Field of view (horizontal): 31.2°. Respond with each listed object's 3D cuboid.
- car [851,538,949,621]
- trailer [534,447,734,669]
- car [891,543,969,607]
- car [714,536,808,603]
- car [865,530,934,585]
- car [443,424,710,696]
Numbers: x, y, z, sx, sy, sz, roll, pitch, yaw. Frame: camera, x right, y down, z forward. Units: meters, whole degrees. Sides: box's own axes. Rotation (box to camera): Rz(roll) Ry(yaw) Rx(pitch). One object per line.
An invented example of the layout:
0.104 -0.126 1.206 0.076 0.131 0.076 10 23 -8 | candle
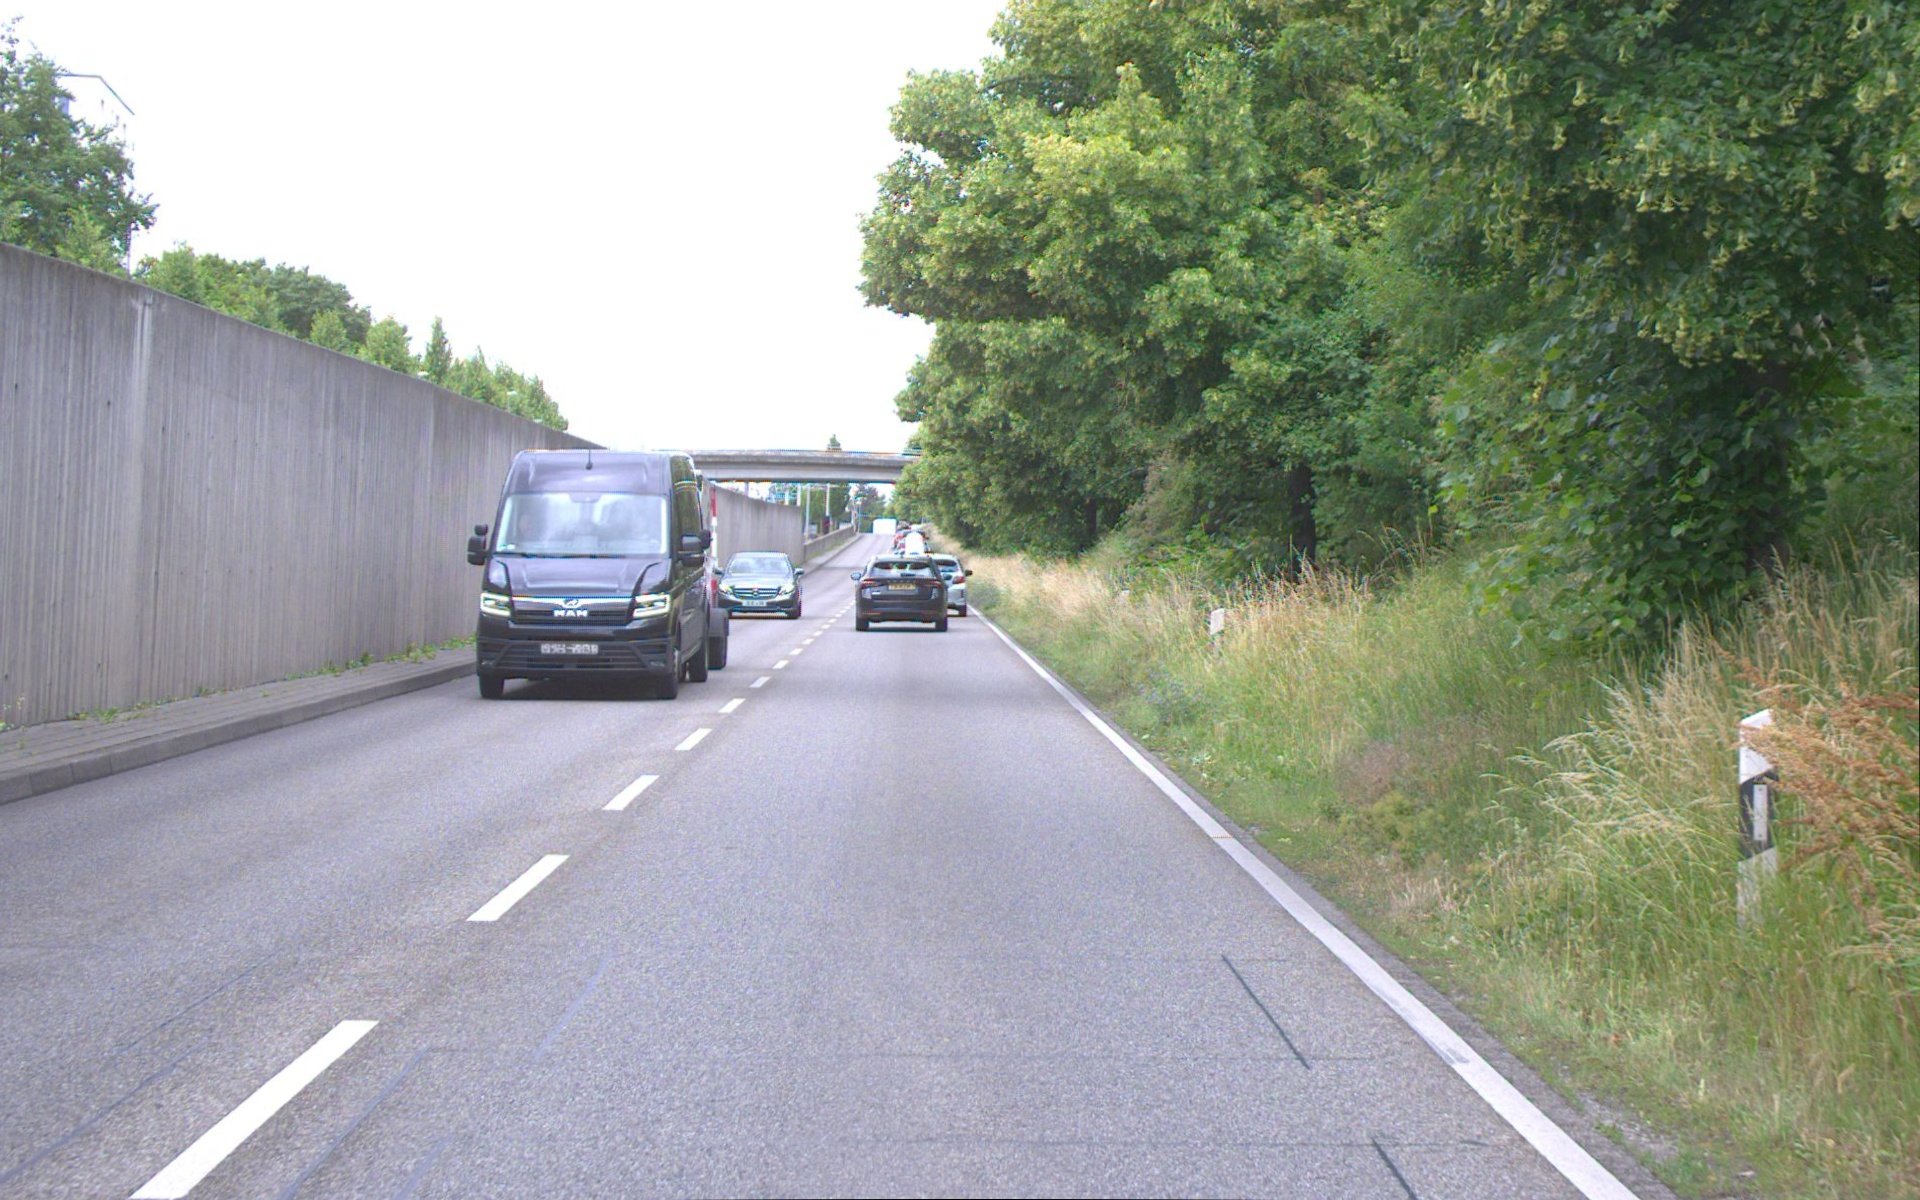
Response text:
-1.187 -0.381 66.354 1.754 1.518 4.037 -1 0 -3 | car
-4.016 -0.529 43.029 2.109 2.621 4.372 1 1 -1 | trailer
-0.703 -0.616 82.759 1.754 1.518 4.037 0 1 1 | car
-4.504 -0.707 78.340 1.892 1.478 4.823 1 1 -1 | car
-1.845 -1.277 103.245 1.866 1.485 4.257 4 0 -2 | car
-3.995 -0.443 37.099 2.109 2.621 7.417 1 1 -1 | car
